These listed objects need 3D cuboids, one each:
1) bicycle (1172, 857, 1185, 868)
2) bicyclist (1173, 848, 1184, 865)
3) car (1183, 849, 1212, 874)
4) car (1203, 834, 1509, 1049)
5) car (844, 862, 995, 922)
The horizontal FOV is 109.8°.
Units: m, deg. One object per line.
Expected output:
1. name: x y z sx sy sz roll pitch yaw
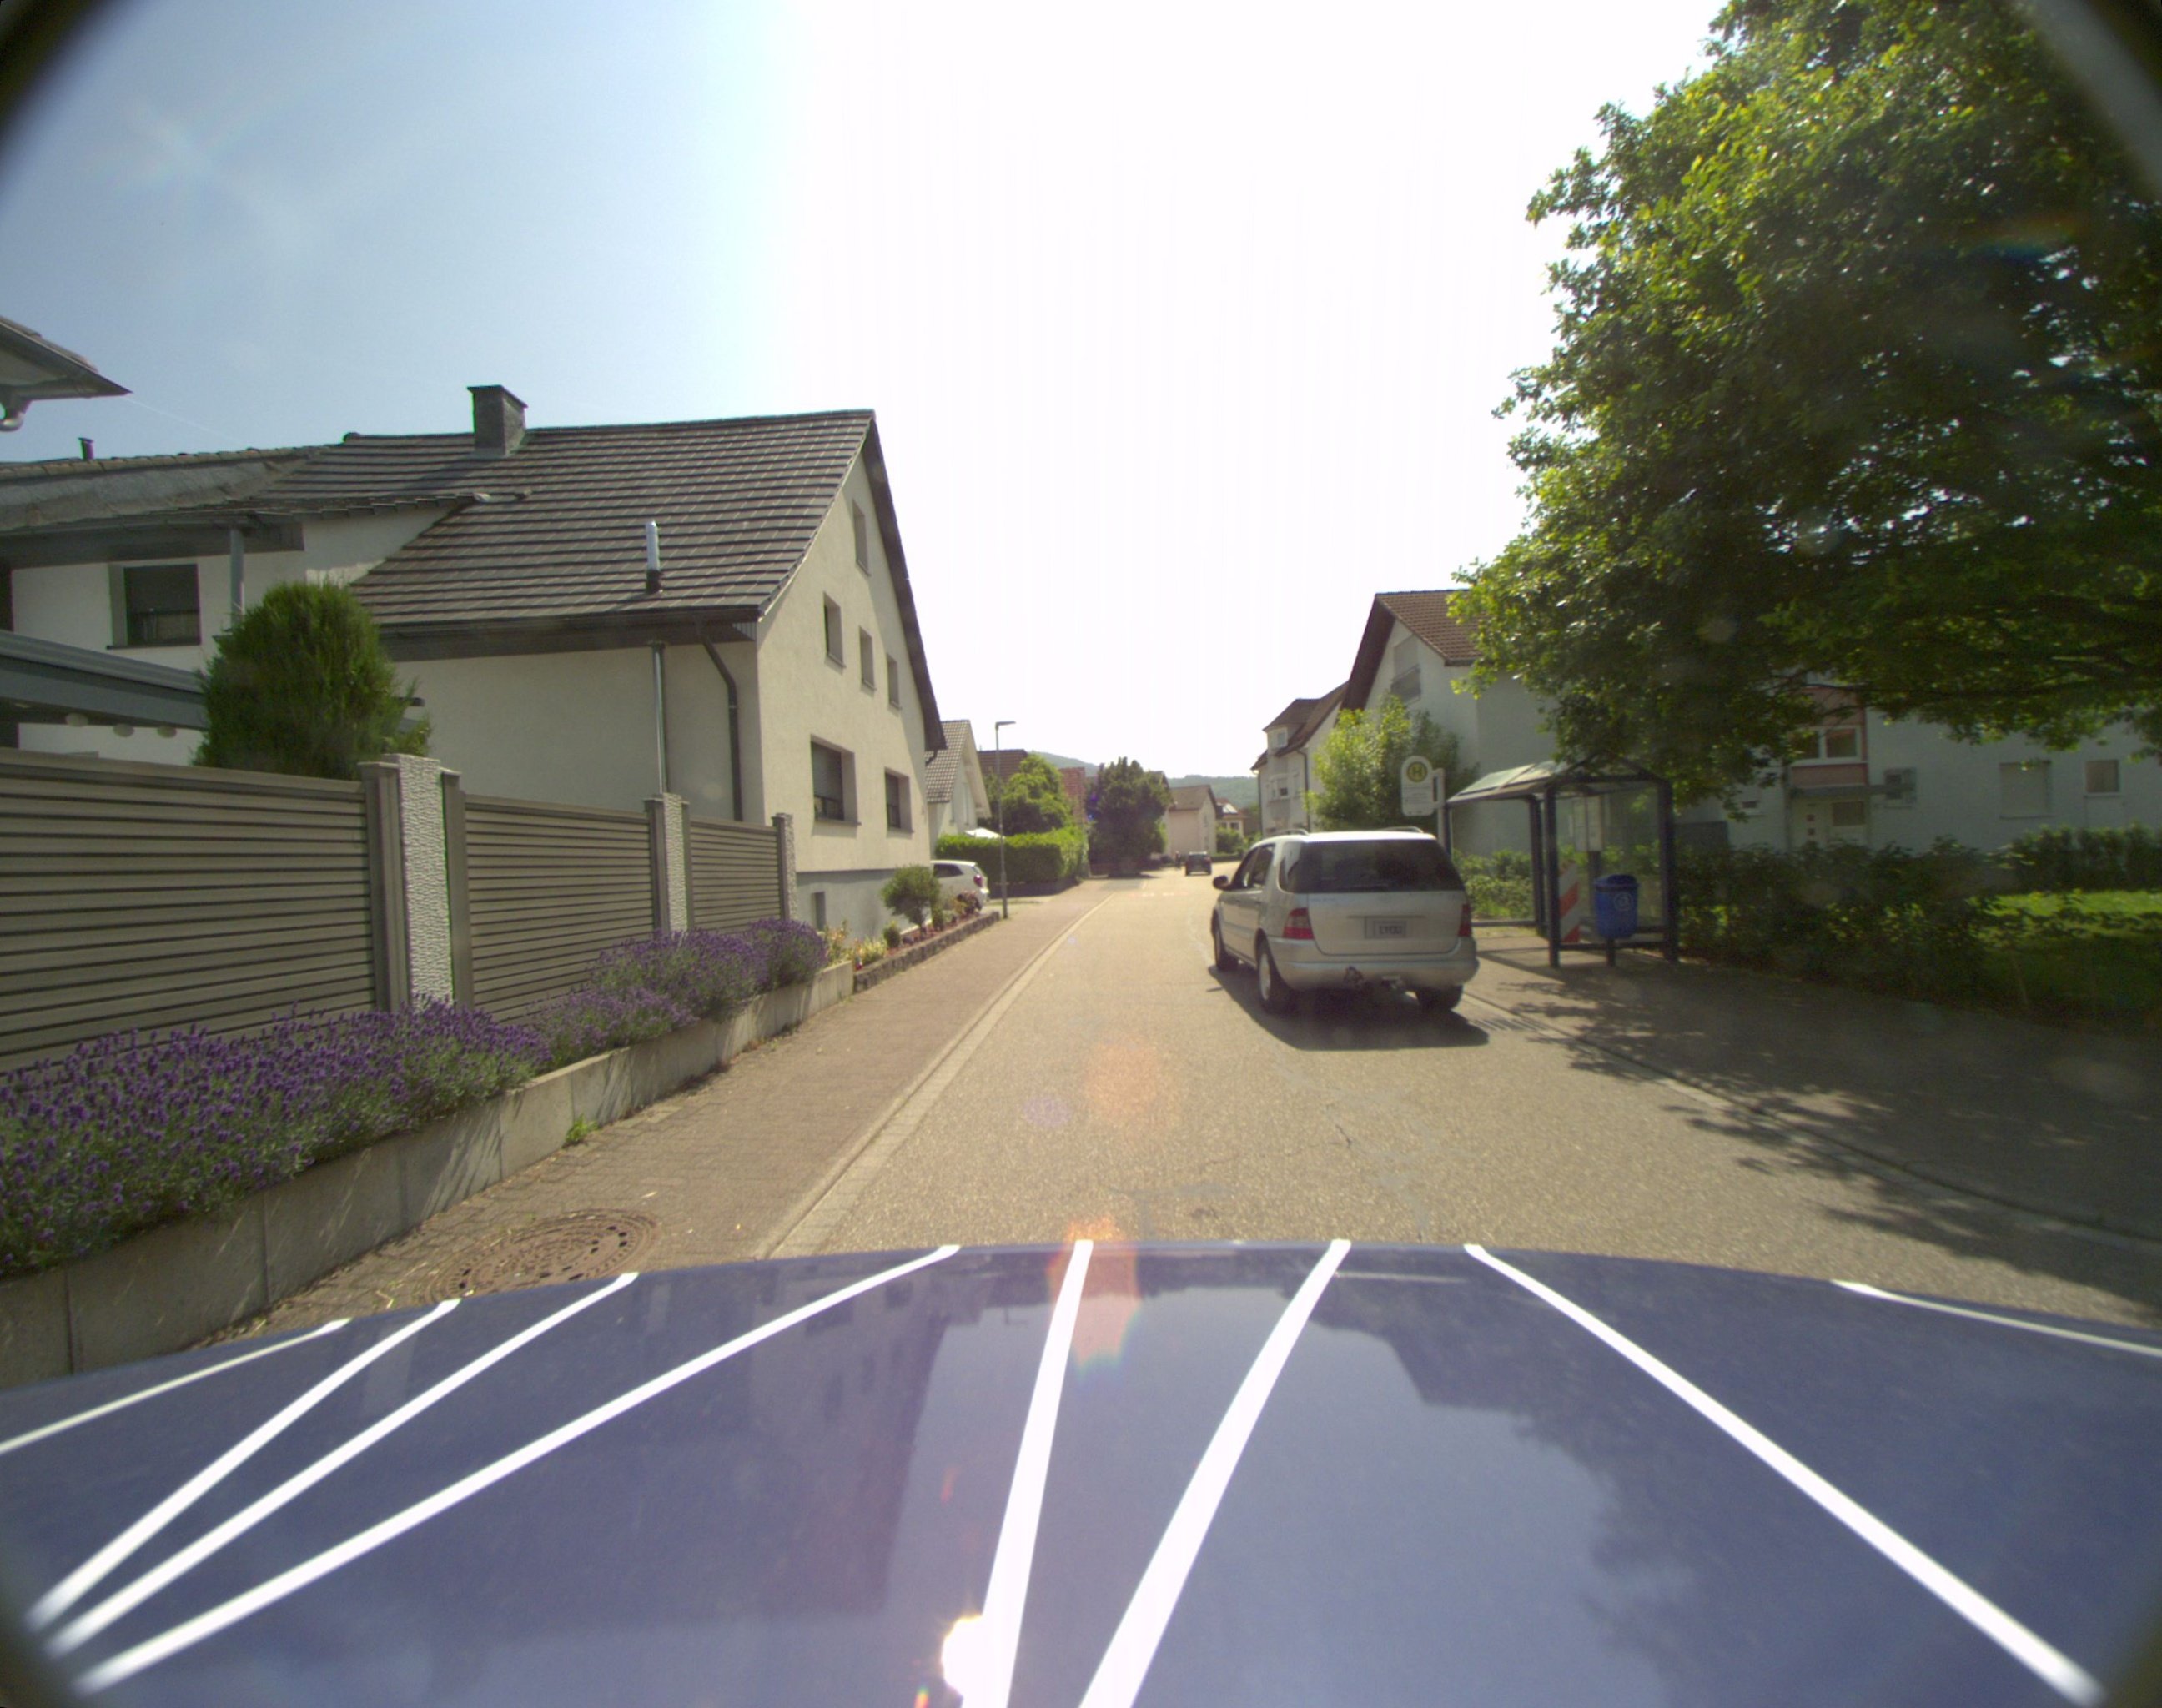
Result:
1. bicycle: 8.792 0.747 68.599 0.520 0.898 1.315 -2 1 36
2. bicyclist: 8.825 0.192 68.674 0.546 1.481 0.798 -2 1 36
3. car: 8.194 0.483 53.714 1.780 1.614 4.107 -2 0 5
4. car: 2.641 0.750 8.505 1.890 1.756 4.331 -1 0 1
5. car: -4.268 0.997 20.503 3.667 1.465 1.765 -1 -1 -1
